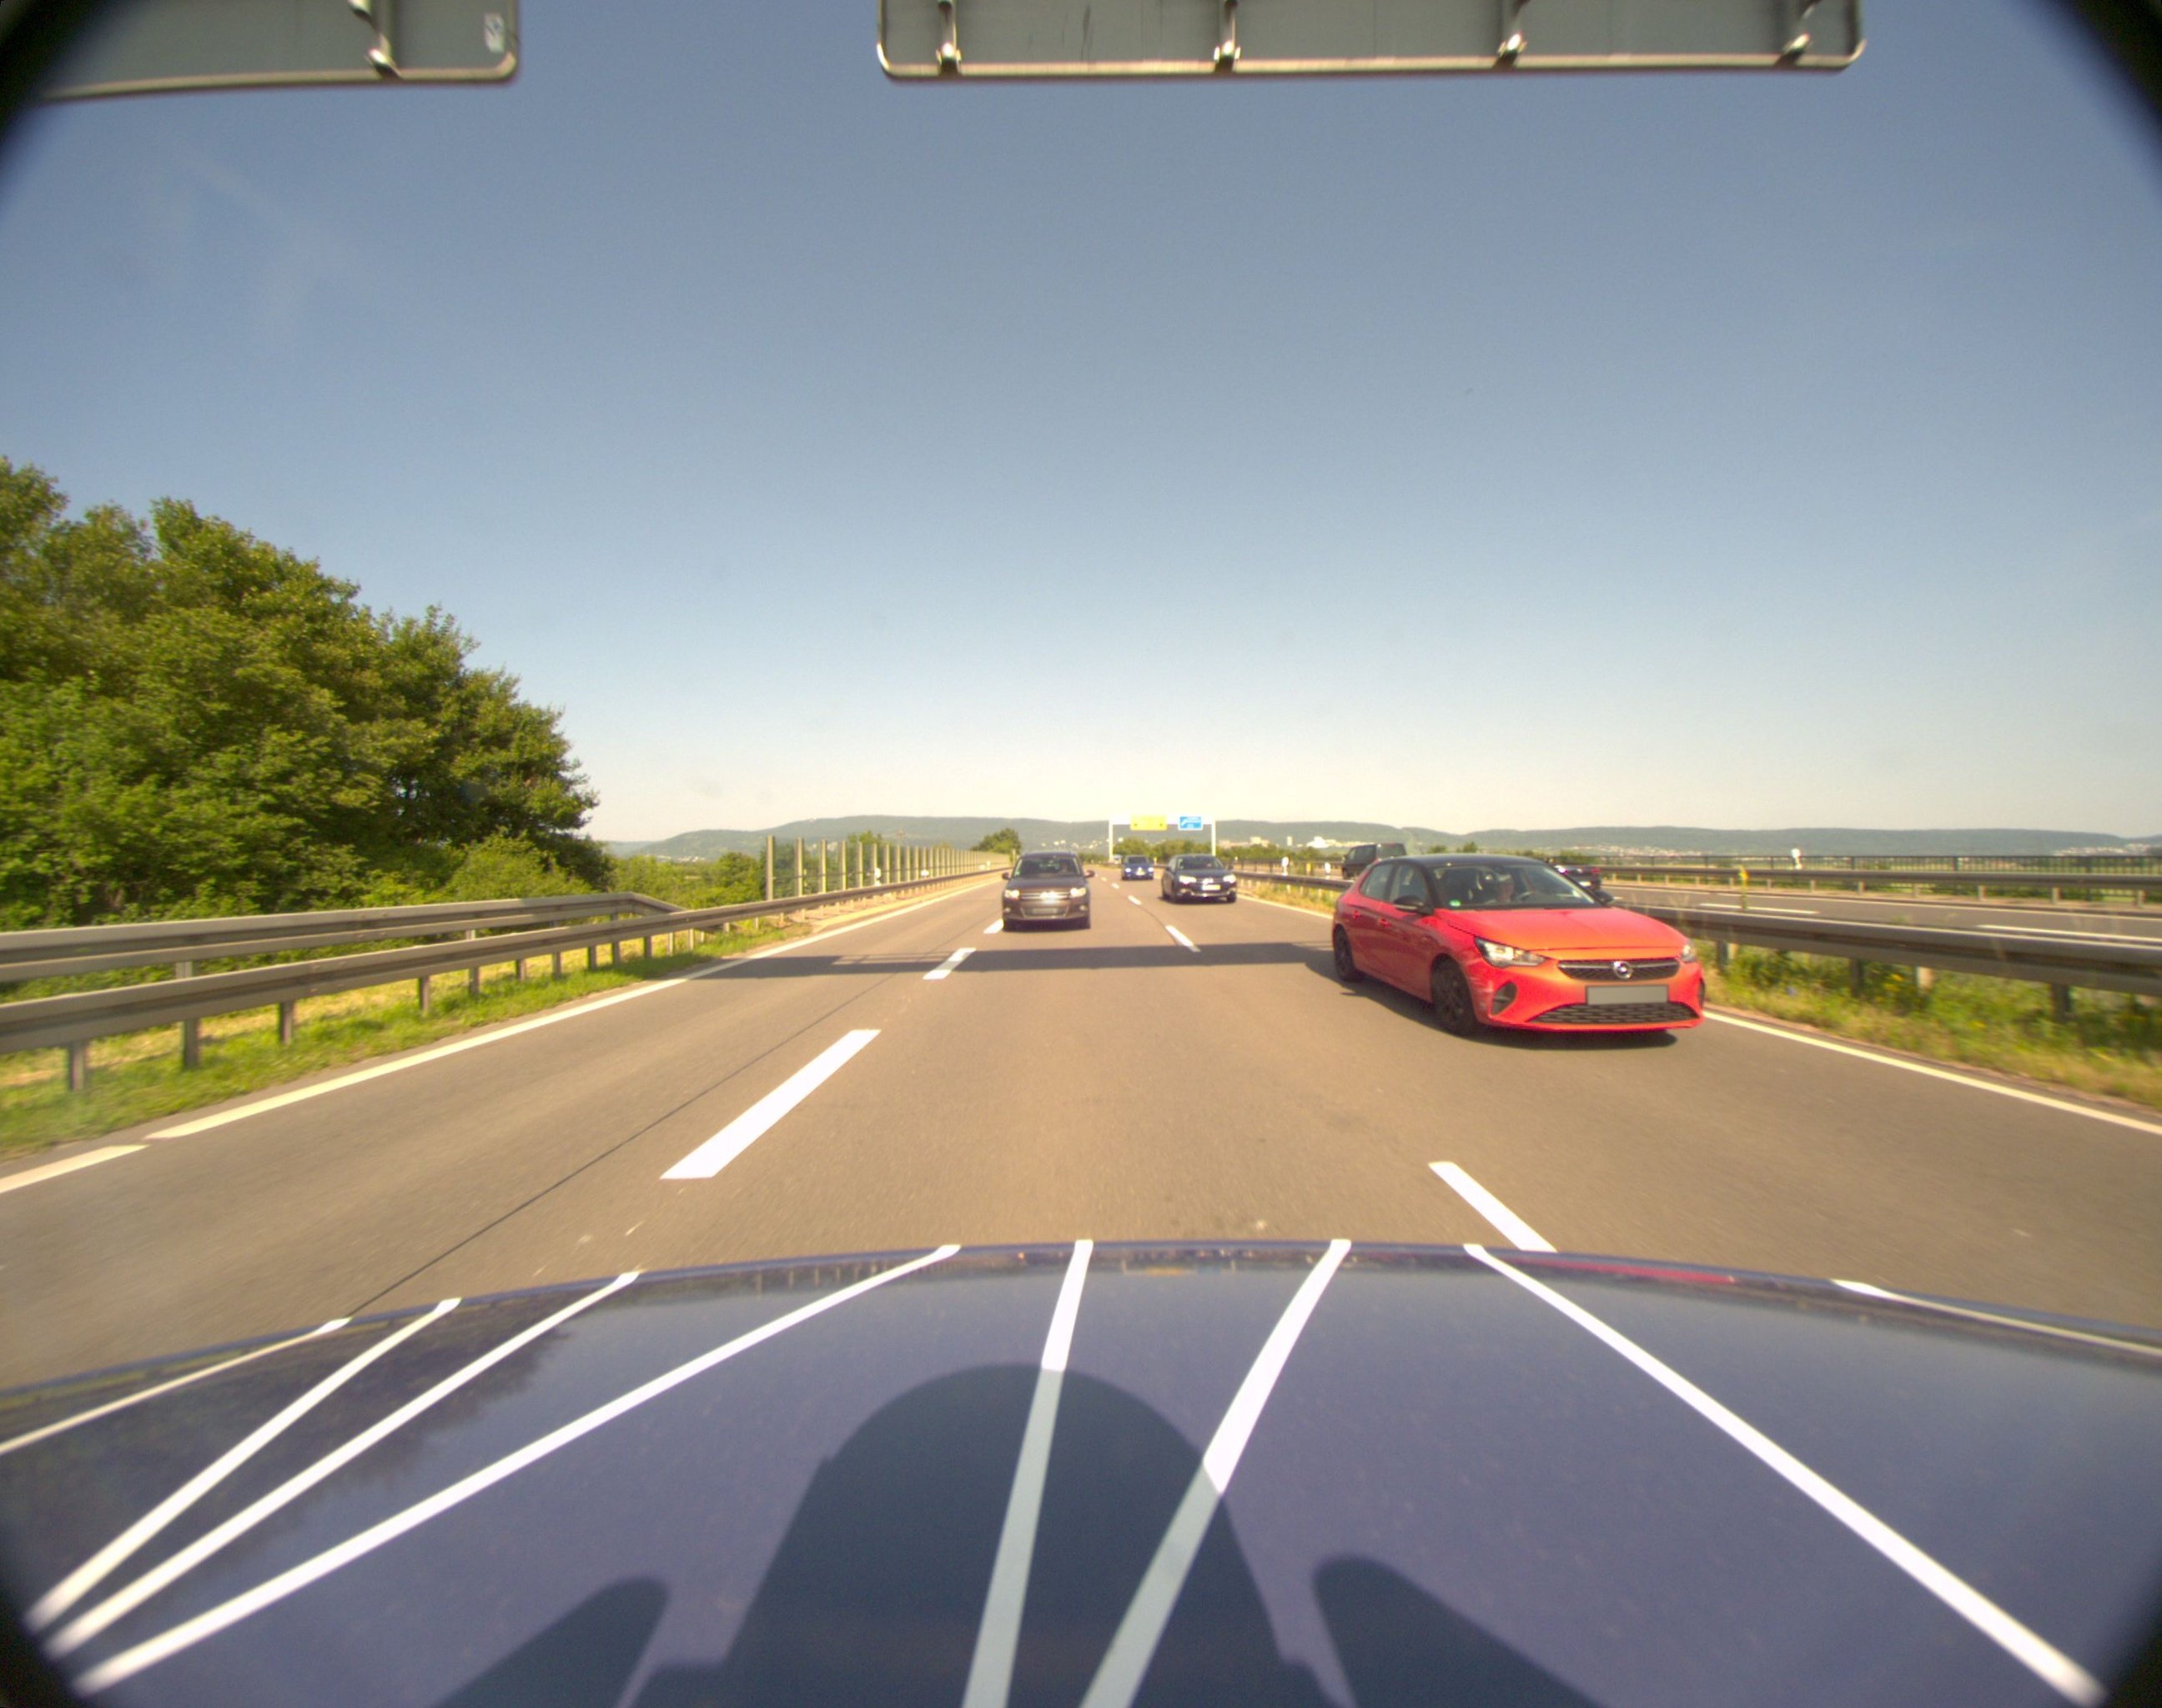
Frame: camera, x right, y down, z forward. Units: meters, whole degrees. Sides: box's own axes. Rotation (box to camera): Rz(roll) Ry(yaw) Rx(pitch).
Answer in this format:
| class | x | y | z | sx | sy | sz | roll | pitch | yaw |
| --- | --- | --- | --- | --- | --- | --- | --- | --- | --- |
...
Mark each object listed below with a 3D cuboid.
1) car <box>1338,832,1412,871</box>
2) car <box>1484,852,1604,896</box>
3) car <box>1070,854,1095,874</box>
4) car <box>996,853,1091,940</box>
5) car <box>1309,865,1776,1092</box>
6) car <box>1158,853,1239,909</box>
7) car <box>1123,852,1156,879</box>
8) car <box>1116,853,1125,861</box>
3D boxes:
| class | x | y | z | sx | sy | sz | roll | pitch | yaw |
| --- | --- | --- | --- | --- | --- | --- | --- | --- | --- |
| car | 15.260 | -0.140 | 39.706 | 1.999 | 1.895 | 4.416 | -1 | 0 | -2 |
| car | 15.067 | 0.624 | 24.973 | 1.570 | 1.262 | 3.715 | -2 | 0 | -2 |
| car | 0.128 | 0.669 | 51.970 | 1.600 | 1.241 | 4.000 | -2 | 0 | 1 |
| car | -0.725 | 0.839 | 16.841 | 1.790 | 1.637 | 4.148 | -2 | 0 | 0 |
| car | 3.682 | 0.845 | 7.176 | 1.713 | 1.428 | 4.412 | -2 | -1 | 0 |
| car | 3.525 | 0.754 | 23.554 | 1.788 | 1.524 | 4.374 | -2 | 0 | 0 |
| car | 3.445 | 0.651 | 45.111 | 1.652 | 1.403 | 3.775 | -2 | 1 | 0 |
| car | 7.725 | 0.545 | 148.624 | 1.556 | 1.408 | 3.668 | -2 | 0 | -2 |
